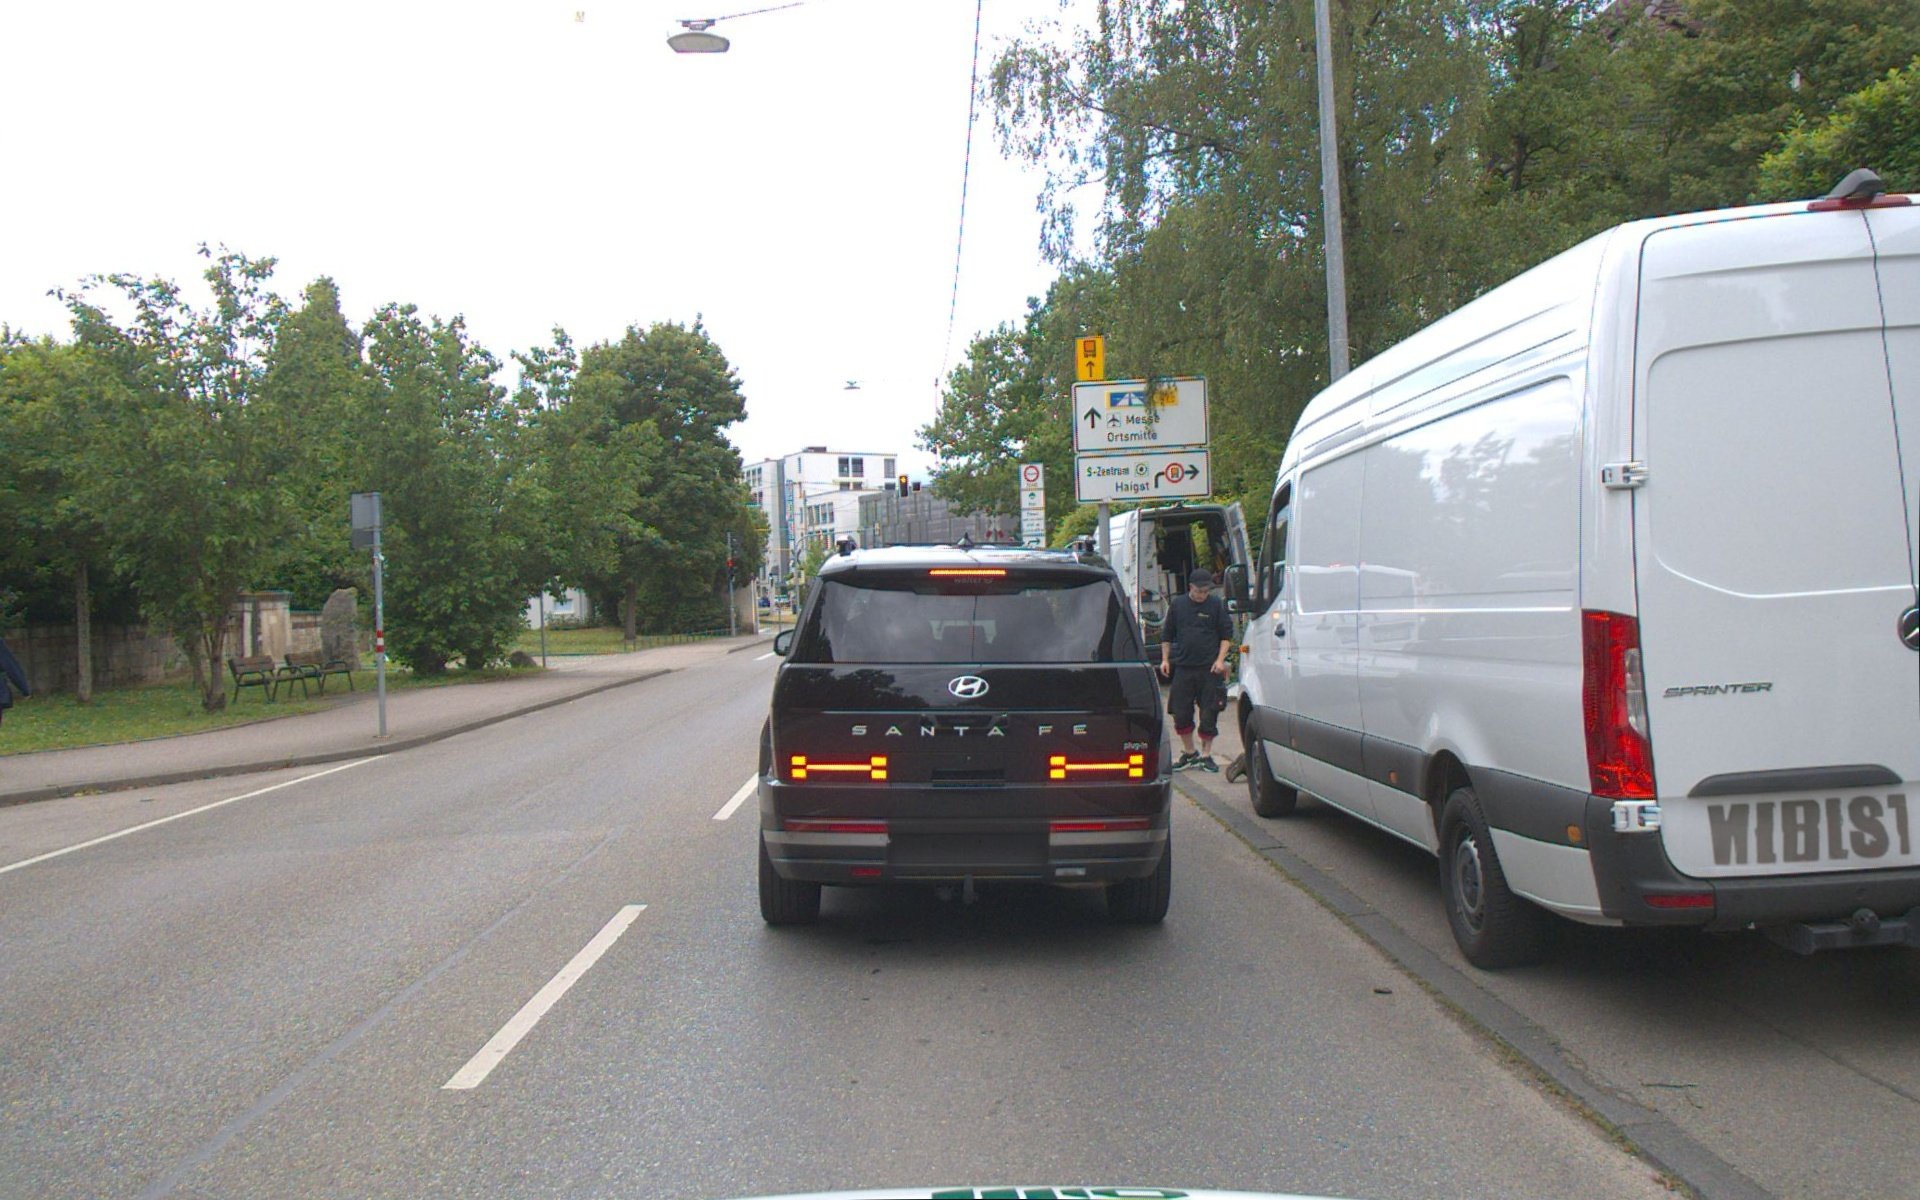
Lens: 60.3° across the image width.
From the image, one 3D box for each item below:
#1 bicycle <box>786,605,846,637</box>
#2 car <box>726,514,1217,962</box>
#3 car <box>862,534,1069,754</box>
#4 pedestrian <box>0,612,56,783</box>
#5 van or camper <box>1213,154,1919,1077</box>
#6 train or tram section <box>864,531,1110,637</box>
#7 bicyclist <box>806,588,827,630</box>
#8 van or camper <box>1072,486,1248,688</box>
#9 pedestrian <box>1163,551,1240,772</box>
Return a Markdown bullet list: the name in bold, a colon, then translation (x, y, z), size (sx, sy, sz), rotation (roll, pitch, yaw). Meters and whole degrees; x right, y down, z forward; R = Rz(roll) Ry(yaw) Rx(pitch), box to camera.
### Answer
- **bicycle**: translation (-5.928, 0.871, 68.086), size (2.444, 1.302, 0.676), rotation (0, -2, -5)
- **car**: translation (-0.005, 0.536, 8.540), size (1.924, 1.741, 3.999), rotation (-1, 0, -2)
- **car**: translation (-0.002, 0.403, 17.487), size (1.924, 2.036, 3.999), rotation (-1, 0, -2)
- **pedestrian**: translation (-9.413, 0.924, 16.061), size (0.733, 1.605, 0.966), rotation (-1, 0, -1)
- **van or camper**: translation (2.858, -0.005, 8.104), size (1.924, 2.673, 6.356), rotation (-4, 0, -2)
- **train or tram section**: translation (0.826, -0.534, 83.310), size (3.161, 4.602, 18.486), rotation (0, -2, -31)
- **bicyclist**: translation (-5.919, 0.365, 68.101), size (0.839, 1.688, 0.676), rotation (0, -2, -5)
- **van or camper**: translation (3.119, -0.204, 26.937), size (1.924, 2.845, 5.285), rotation (-4, 0, -2)
- **pedestrian**: translation (1.992, 0.505, 13.685), size (0.590, 1.774, 0.620), rotation (-1, -2, 7)
